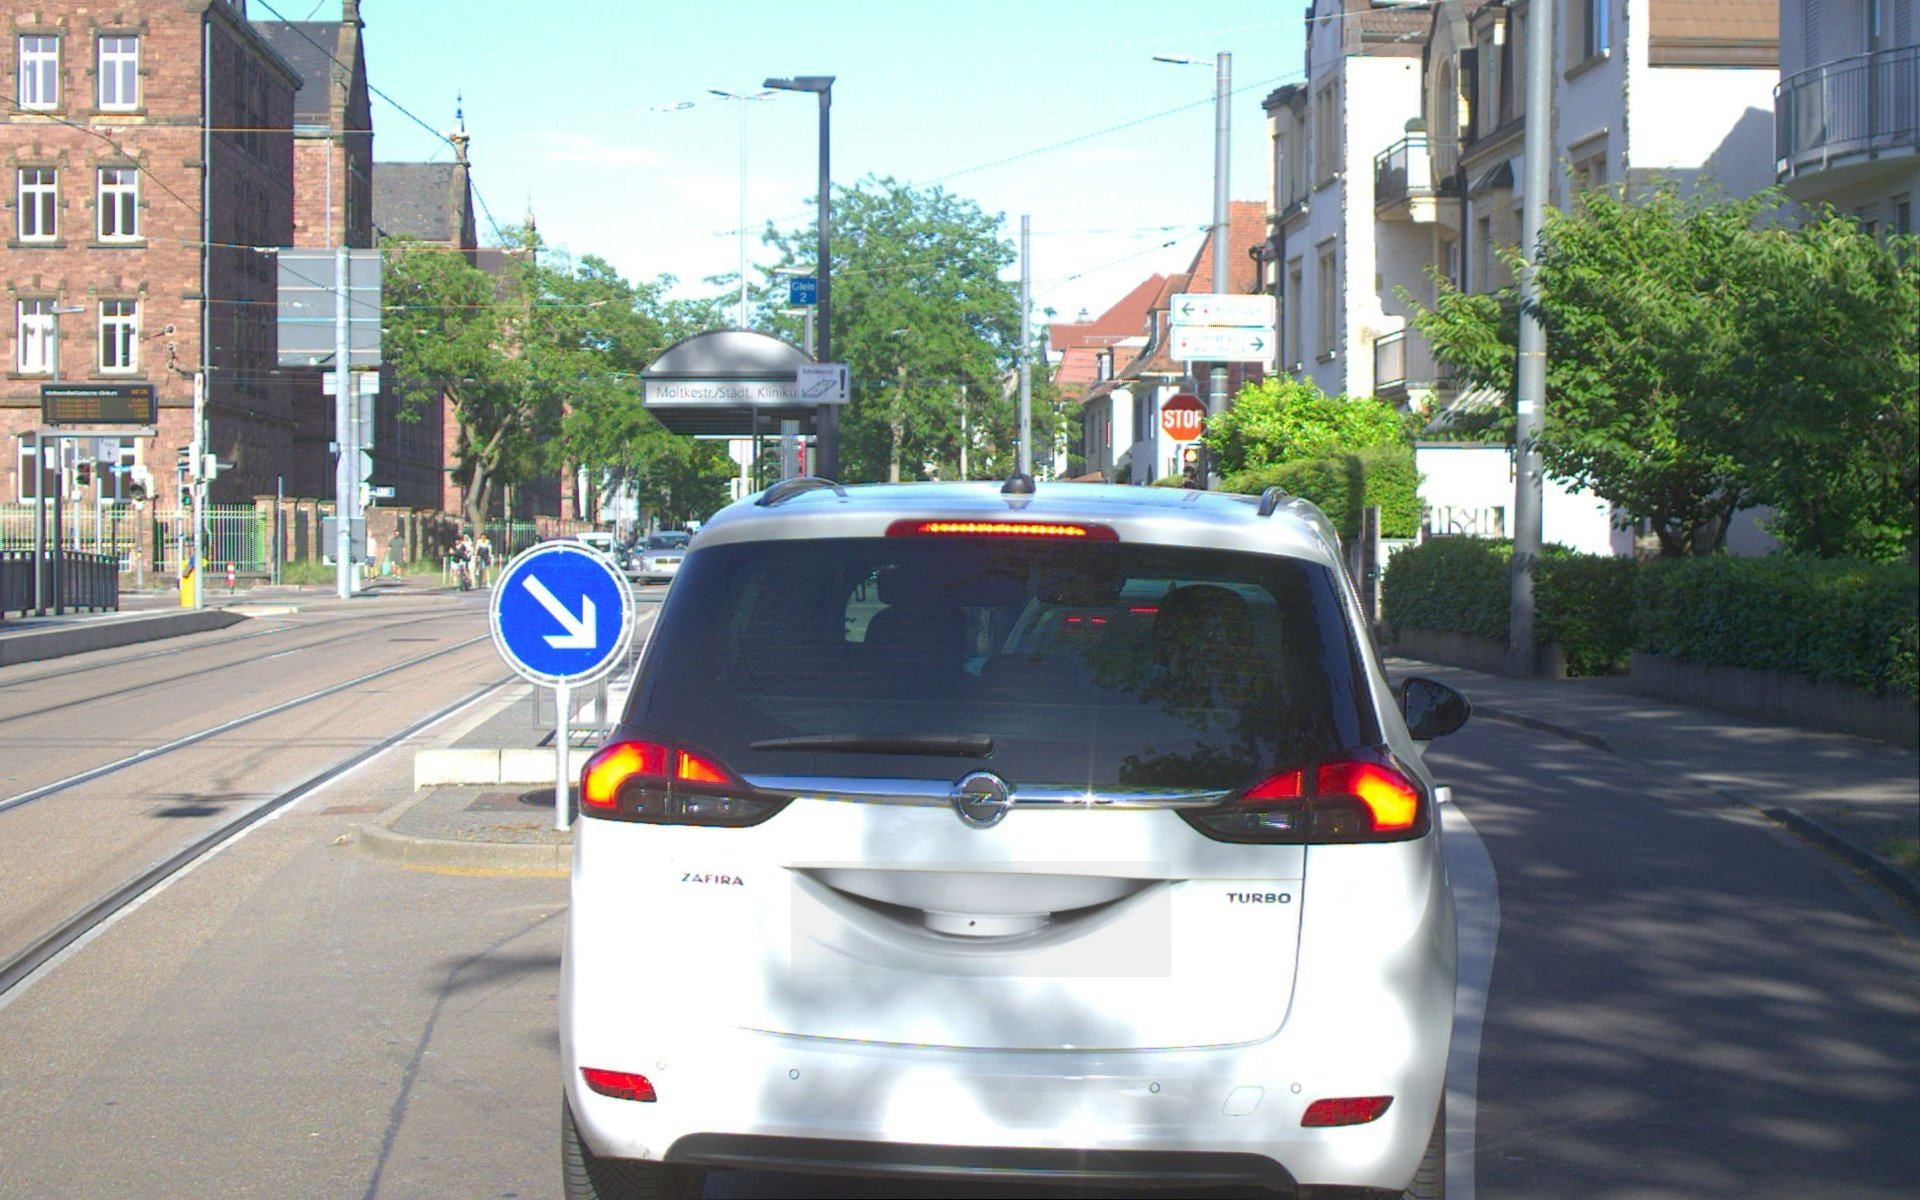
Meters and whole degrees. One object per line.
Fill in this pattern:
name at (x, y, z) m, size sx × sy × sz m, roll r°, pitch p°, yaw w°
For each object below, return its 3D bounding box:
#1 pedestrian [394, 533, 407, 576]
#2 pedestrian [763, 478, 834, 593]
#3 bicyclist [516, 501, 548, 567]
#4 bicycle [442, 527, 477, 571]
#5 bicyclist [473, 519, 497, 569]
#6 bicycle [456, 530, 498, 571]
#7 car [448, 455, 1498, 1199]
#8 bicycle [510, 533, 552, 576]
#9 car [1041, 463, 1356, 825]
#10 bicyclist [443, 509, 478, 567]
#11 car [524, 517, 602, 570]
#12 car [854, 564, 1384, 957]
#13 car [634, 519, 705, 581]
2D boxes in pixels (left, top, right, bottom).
pedestrian at (-18.992, -1.543, 116.758) m, size 0.361 × 1.433 × 0.549 m, roll 0°, pitch 1°, yaw 0°
pedestrian at (-2.897, -1.165, 61.469) m, size 1.155 × 2.006 × 1.120 m, roll -1°, pitch 3°, yaw -8°
bicyclist at (-13.200, -2.036, 106.117) m, size 0.950 × 2.007 × 0.824 m, roll 0°, pitch 1°, yaw -5°
bicycle at (-15.033, -1.528, 103.253) m, size 0.821 × 1.292 × 2.678 m, roll 0°, pitch 1°, yaw -4°
bicyclist at (-15.158, -1.785, 109.698) m, size 0.702 × 1.601 × 0.657 m, roll 0°, pitch 1°, yaw -3°
bicycle at (-15.416, -1.584, 109.785) m, size 1.148 × 1.292 × 2.861 m, roll 0°, pitch 1°, yaw -4°
car at (0.214, 0.572, 8.288) m, size 1.893 × 1.605 × 4.228 m, roll 0°, pitch -1°, yaw 6°
bicycle at (-13.234, -1.418, 106.131) m, size 1.148 × 1.292 × 2.861 m, roll 0°, pitch 1°, yaw -4°
car at (1.547, 0.211, 21.084) m, size 1.709 × 2.007 × 3.905 m, roll 0°, pitch 1°, yaw 7°
bicyclist at (-15.034, -1.859, 103.536) m, size 0.943 × 1.728 × 0.861 m, roll 0°, pitch 1°, yaw -3°
car at (-13.191, -1.884, 114.365) m, size 1.993 × 1.716 × 4.000 m, roll 0°, pitch 1°, yaw 2°
car at (0.835, 0.580, 14.950) m, size 1.994 × 1.437 × 3.999 m, roll 0°, pitch 1°, yaw 7°
car at (-9.098, -1.558, 107.874) m, size 1.993 × 1.907 × 4.000 m, roll 0°, pitch 1°, yaw -2°
